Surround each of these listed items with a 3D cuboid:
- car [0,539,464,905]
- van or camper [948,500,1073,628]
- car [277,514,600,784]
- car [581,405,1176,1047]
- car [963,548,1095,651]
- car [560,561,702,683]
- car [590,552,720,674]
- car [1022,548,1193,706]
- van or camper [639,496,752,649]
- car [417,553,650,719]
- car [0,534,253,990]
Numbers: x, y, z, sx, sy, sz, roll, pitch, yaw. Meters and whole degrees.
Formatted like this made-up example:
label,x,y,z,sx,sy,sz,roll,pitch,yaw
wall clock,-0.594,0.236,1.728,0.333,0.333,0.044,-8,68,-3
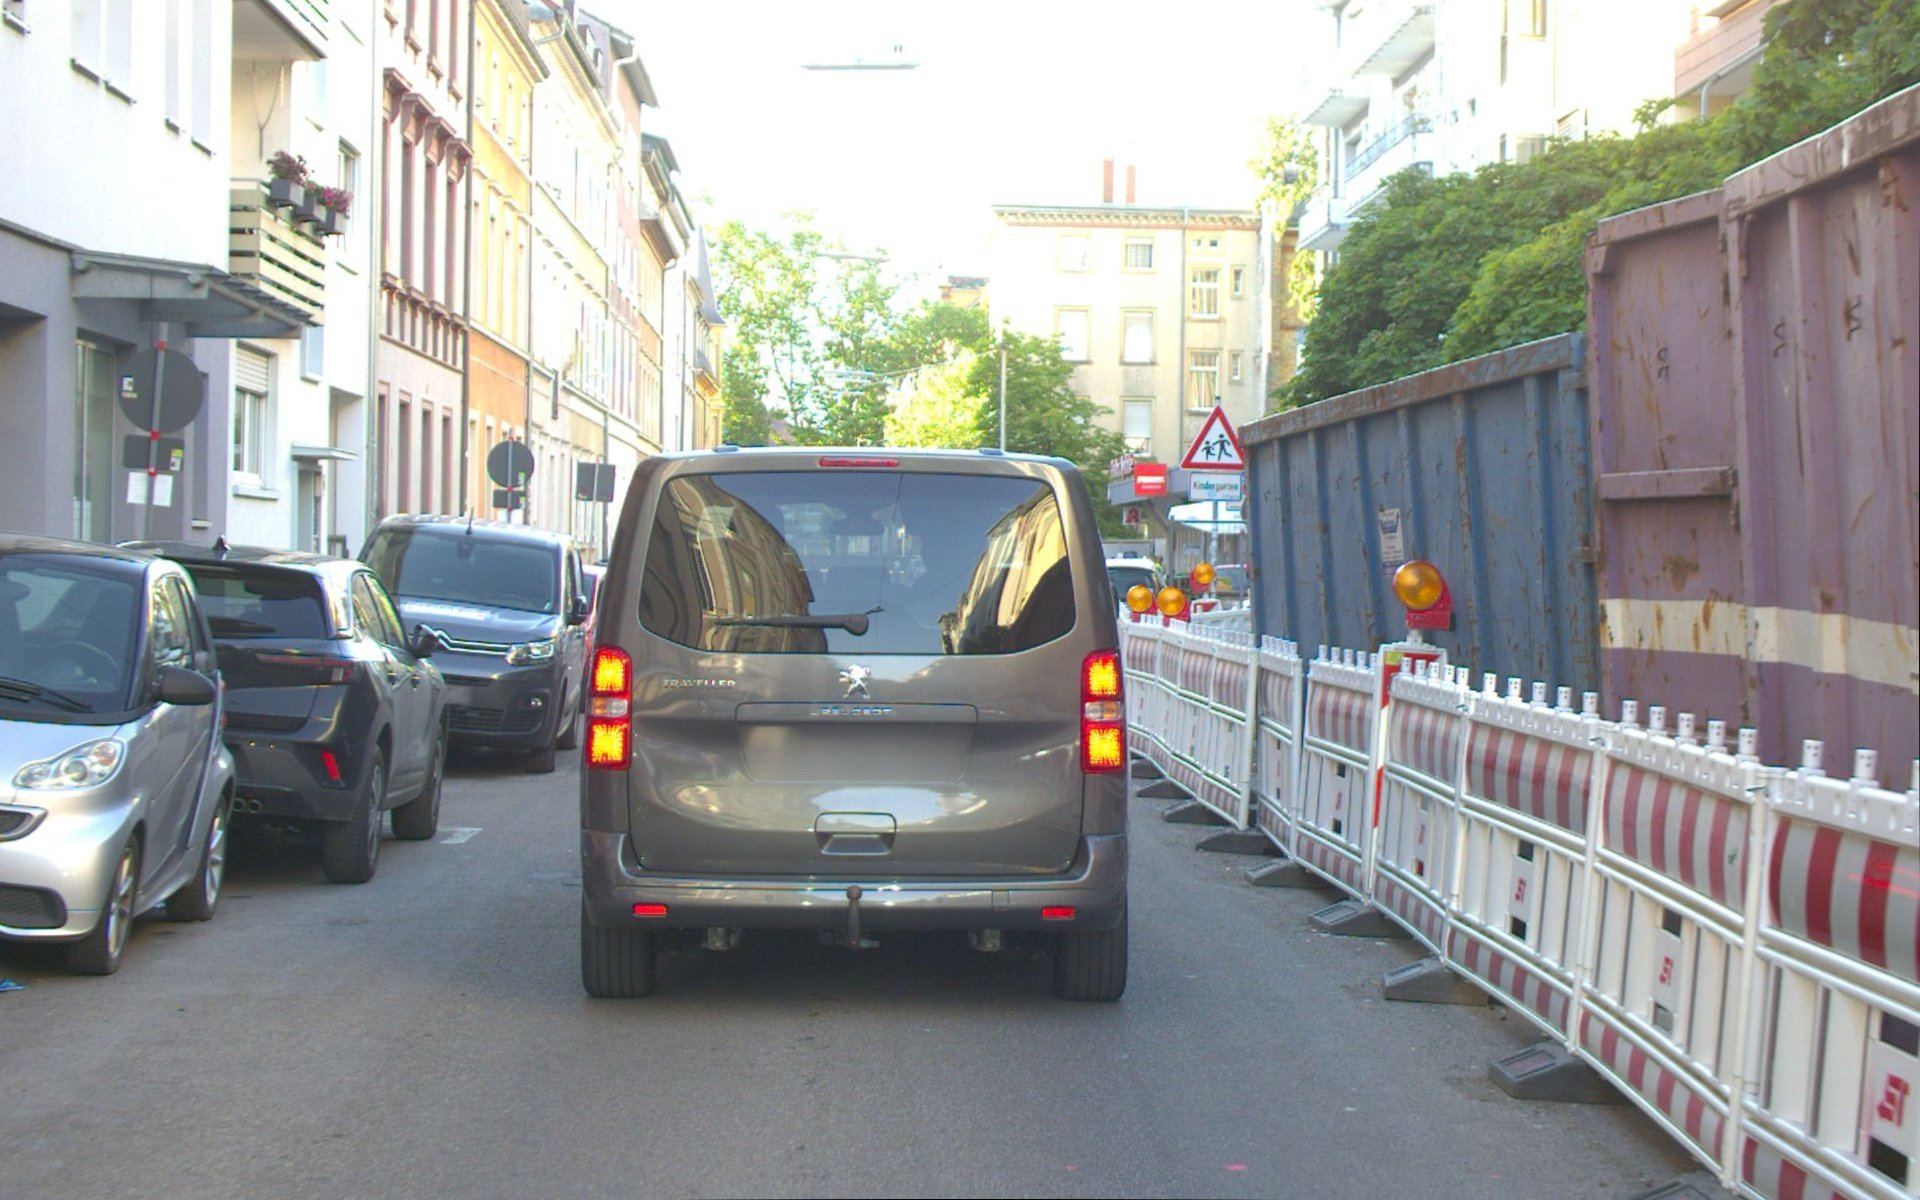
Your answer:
label,x,y,z,sx,sy,sz,roll,pitch,yaw
car,-3.610,0.516,17.433,1.740,1.594,4.015,2,1,-3
van or camper,1.007,-0.787,73.410,2.099,2.593,7.513,0,1,-4
car,-3.921,0.310,26.559,1.993,1.852,4.585,2,1,-3
car,-0.345,0.357,12.844,1.857,2.007,4.001,-1,1,-3
car,1.110,-0.035,57.310,1.722,1.606,4.589,1,1,-5
car,-4.401,0.265,46.355,1.657,1.443,3.286,5,1,-3
car,-4.535,0.163,51.543,1.711,1.638,3.980,4,1,-3
car,1.661,0.262,40.075,1.749,1.677,4.526,2,1,0
van or camper,-4.814,-0.530,62.980,1.949,2.640,7.142,0,1,-4
car,-4.404,0.336,35.968,1.669,1.480,3.605,6,1,3
car,-3.705,0.538,13.430,1.395,1.583,2.794,1,1,-3
